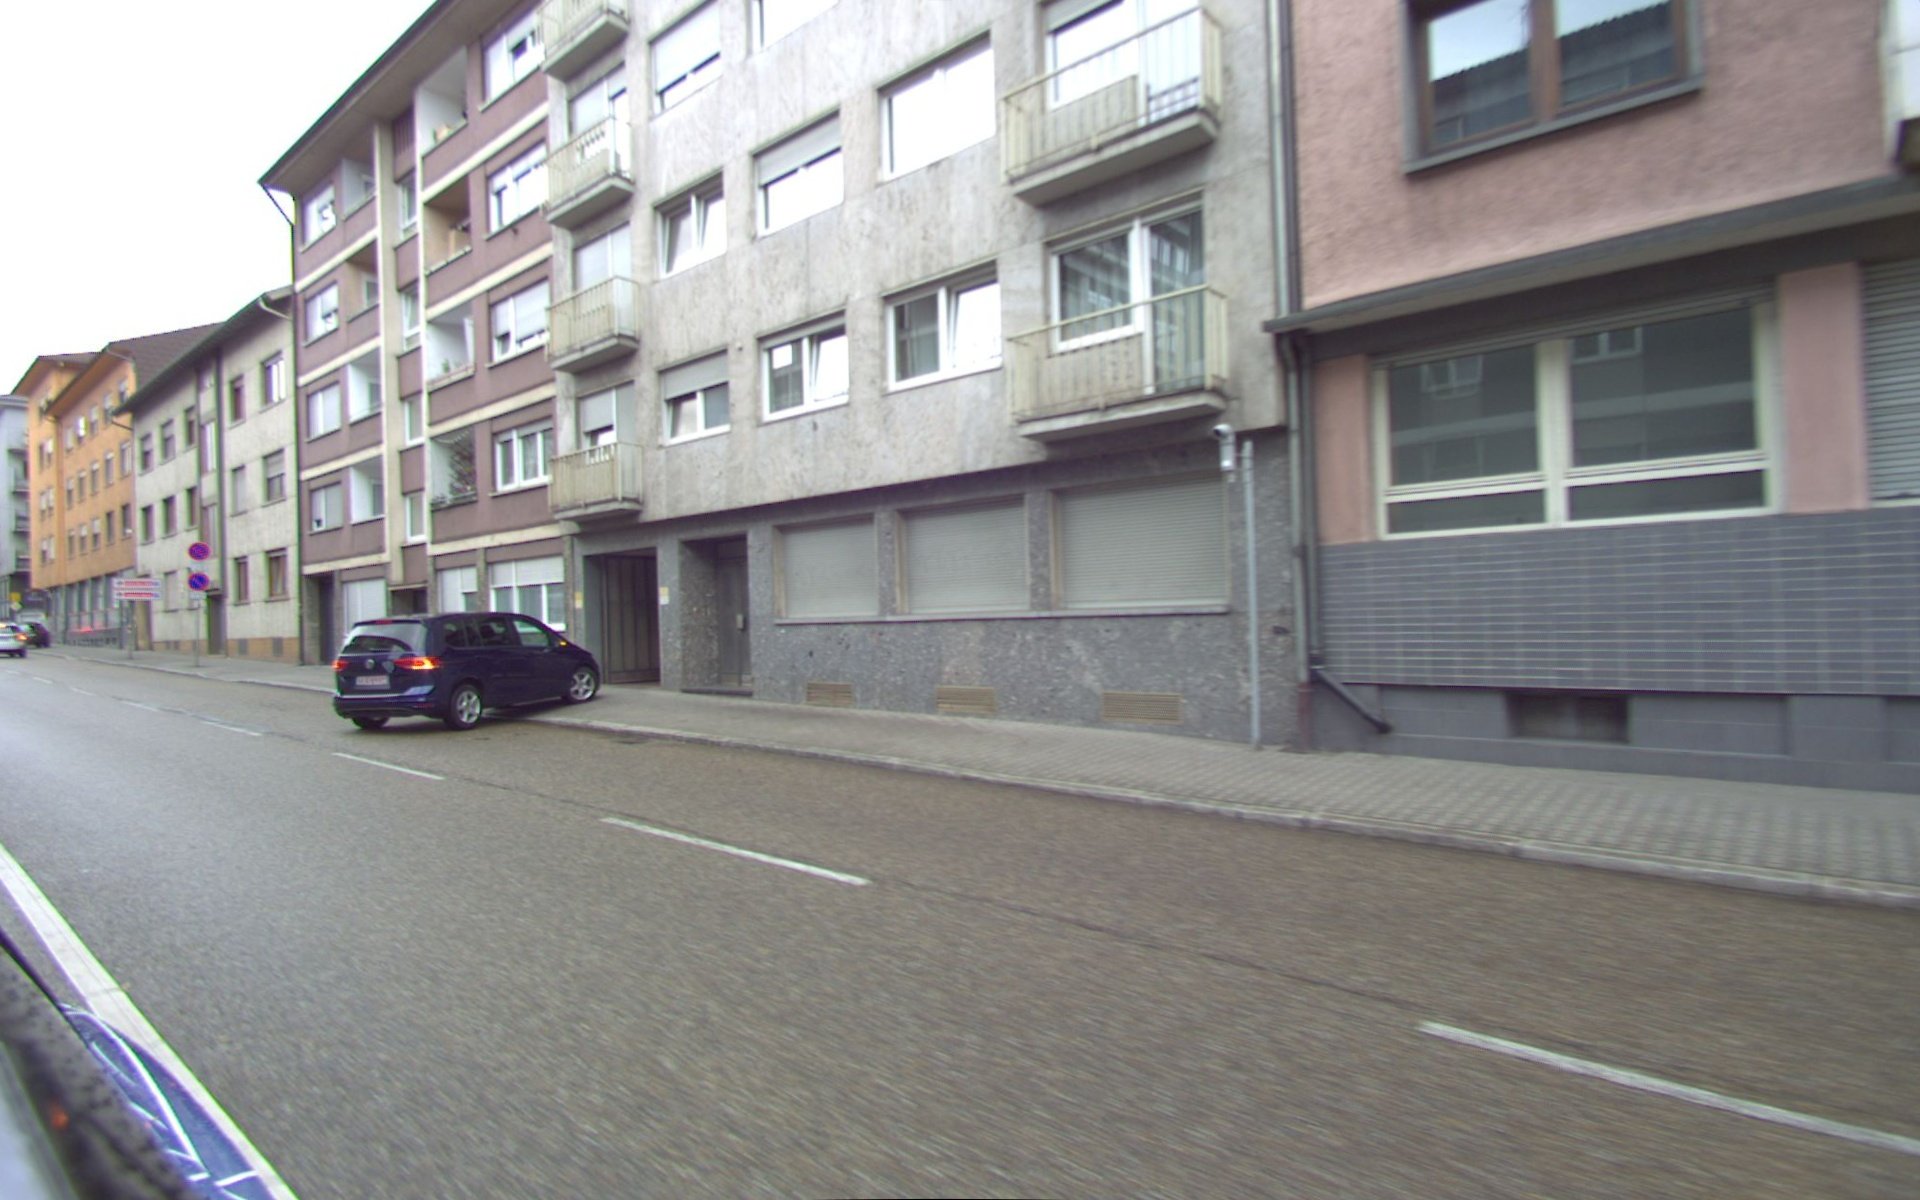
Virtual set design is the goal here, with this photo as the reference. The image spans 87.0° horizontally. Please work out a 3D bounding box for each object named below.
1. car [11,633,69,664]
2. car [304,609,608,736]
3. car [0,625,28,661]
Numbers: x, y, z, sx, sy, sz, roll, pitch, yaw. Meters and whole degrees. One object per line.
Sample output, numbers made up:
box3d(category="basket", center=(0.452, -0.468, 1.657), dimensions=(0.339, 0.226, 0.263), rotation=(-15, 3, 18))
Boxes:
box3d(category="car", center=(-49.580, 2.587, 54.544), dimensions=(3.800, 1.466, 1.687), rotation=(-1, 1, 38))
box3d(category="car", center=(-7.390, 0.977, 15.413), dimensions=(1.978, 1.587, 4.295), rotation=(-1, 0, 10))
box3d(category="car", center=(-40.752, 1.792, 42.606), dimensions=(4.069, 1.472, 1.710), rotation=(-1, -3, 40))
